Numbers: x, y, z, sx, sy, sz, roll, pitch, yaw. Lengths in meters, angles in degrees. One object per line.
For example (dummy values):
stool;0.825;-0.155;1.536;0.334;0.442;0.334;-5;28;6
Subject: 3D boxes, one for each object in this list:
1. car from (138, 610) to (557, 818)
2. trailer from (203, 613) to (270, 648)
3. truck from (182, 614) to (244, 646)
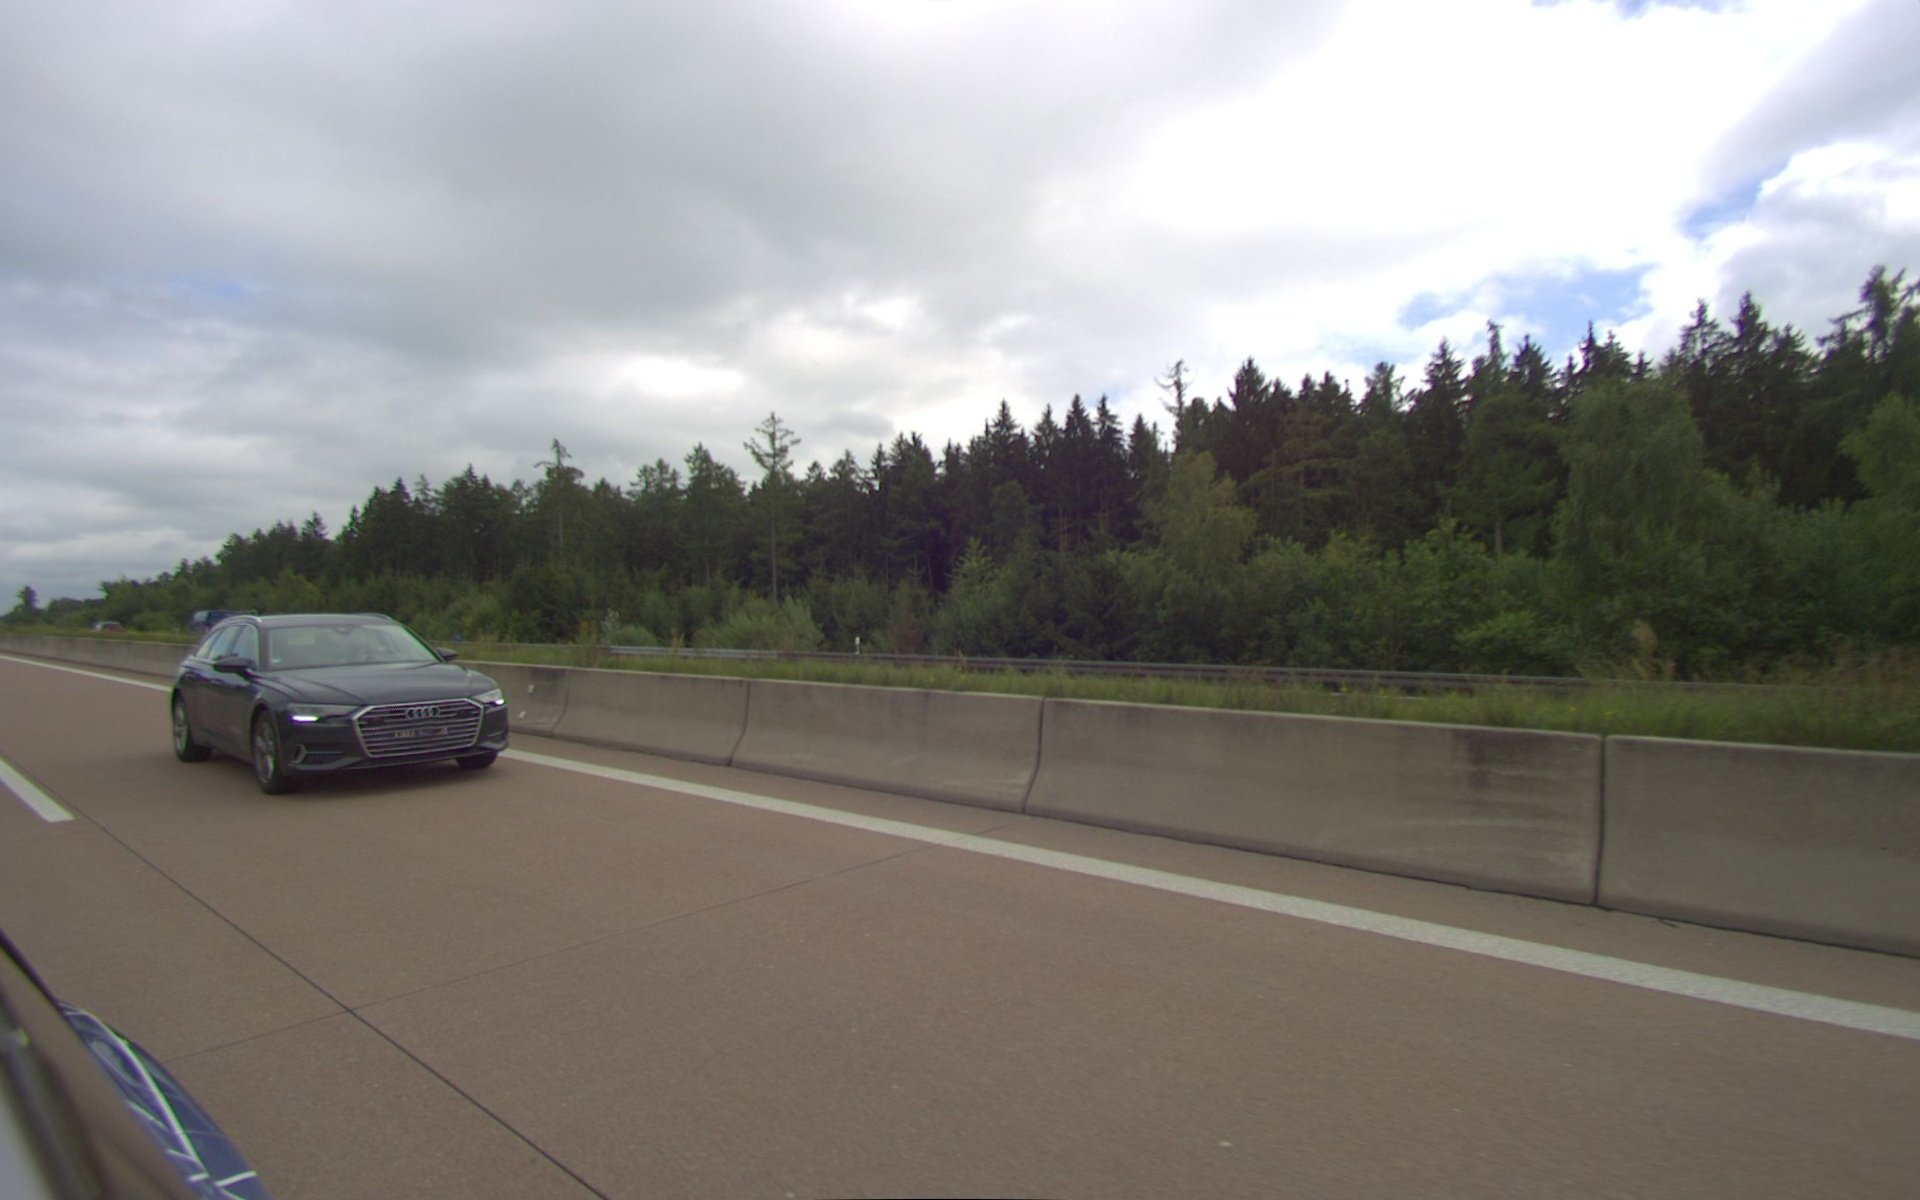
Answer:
car;-6.292;0.899;10.031;5.451;1.503;2.037;-2;-1;42
trailer;-48.490;2.027;67.766;6.186;2.178;2.307;-2;-1;42
truck;-53.078;2.116;71.850;6.040;2.178;2.322;-2;-1;42
